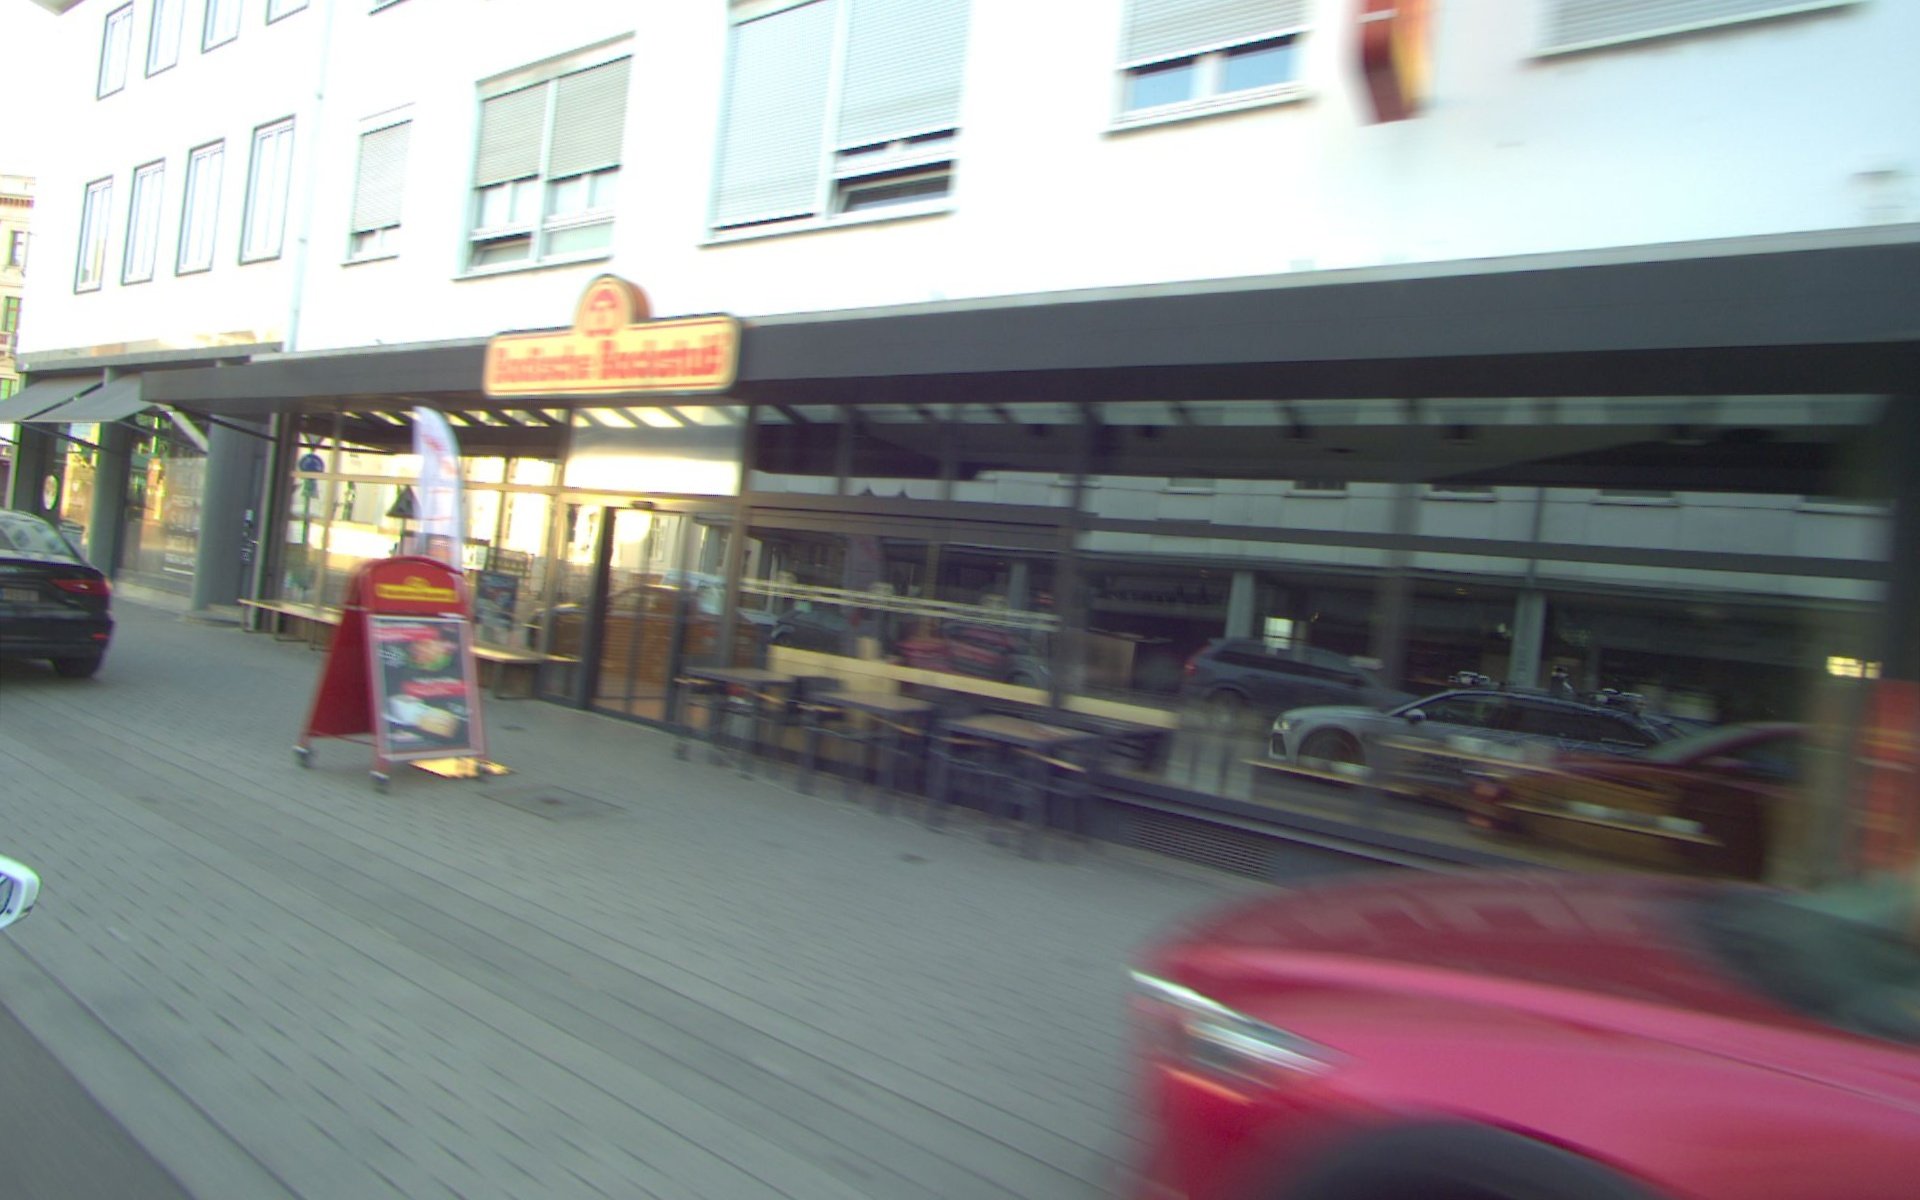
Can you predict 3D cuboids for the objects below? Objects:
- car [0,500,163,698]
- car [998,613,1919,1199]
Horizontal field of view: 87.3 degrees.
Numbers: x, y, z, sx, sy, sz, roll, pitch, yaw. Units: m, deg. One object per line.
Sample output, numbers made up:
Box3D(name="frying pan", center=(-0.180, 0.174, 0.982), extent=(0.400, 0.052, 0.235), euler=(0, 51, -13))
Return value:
Box3D(name="car", center=(-8.958, -0.186, 8.699), extent=(4.047, 1.482, 1.804), euler=(7, 0, 30))
Box3D(name="car", center=(2.094, 1.039, 1.772), extent=(3.618, 1.541, 1.761), euler=(7, 0, 34))
